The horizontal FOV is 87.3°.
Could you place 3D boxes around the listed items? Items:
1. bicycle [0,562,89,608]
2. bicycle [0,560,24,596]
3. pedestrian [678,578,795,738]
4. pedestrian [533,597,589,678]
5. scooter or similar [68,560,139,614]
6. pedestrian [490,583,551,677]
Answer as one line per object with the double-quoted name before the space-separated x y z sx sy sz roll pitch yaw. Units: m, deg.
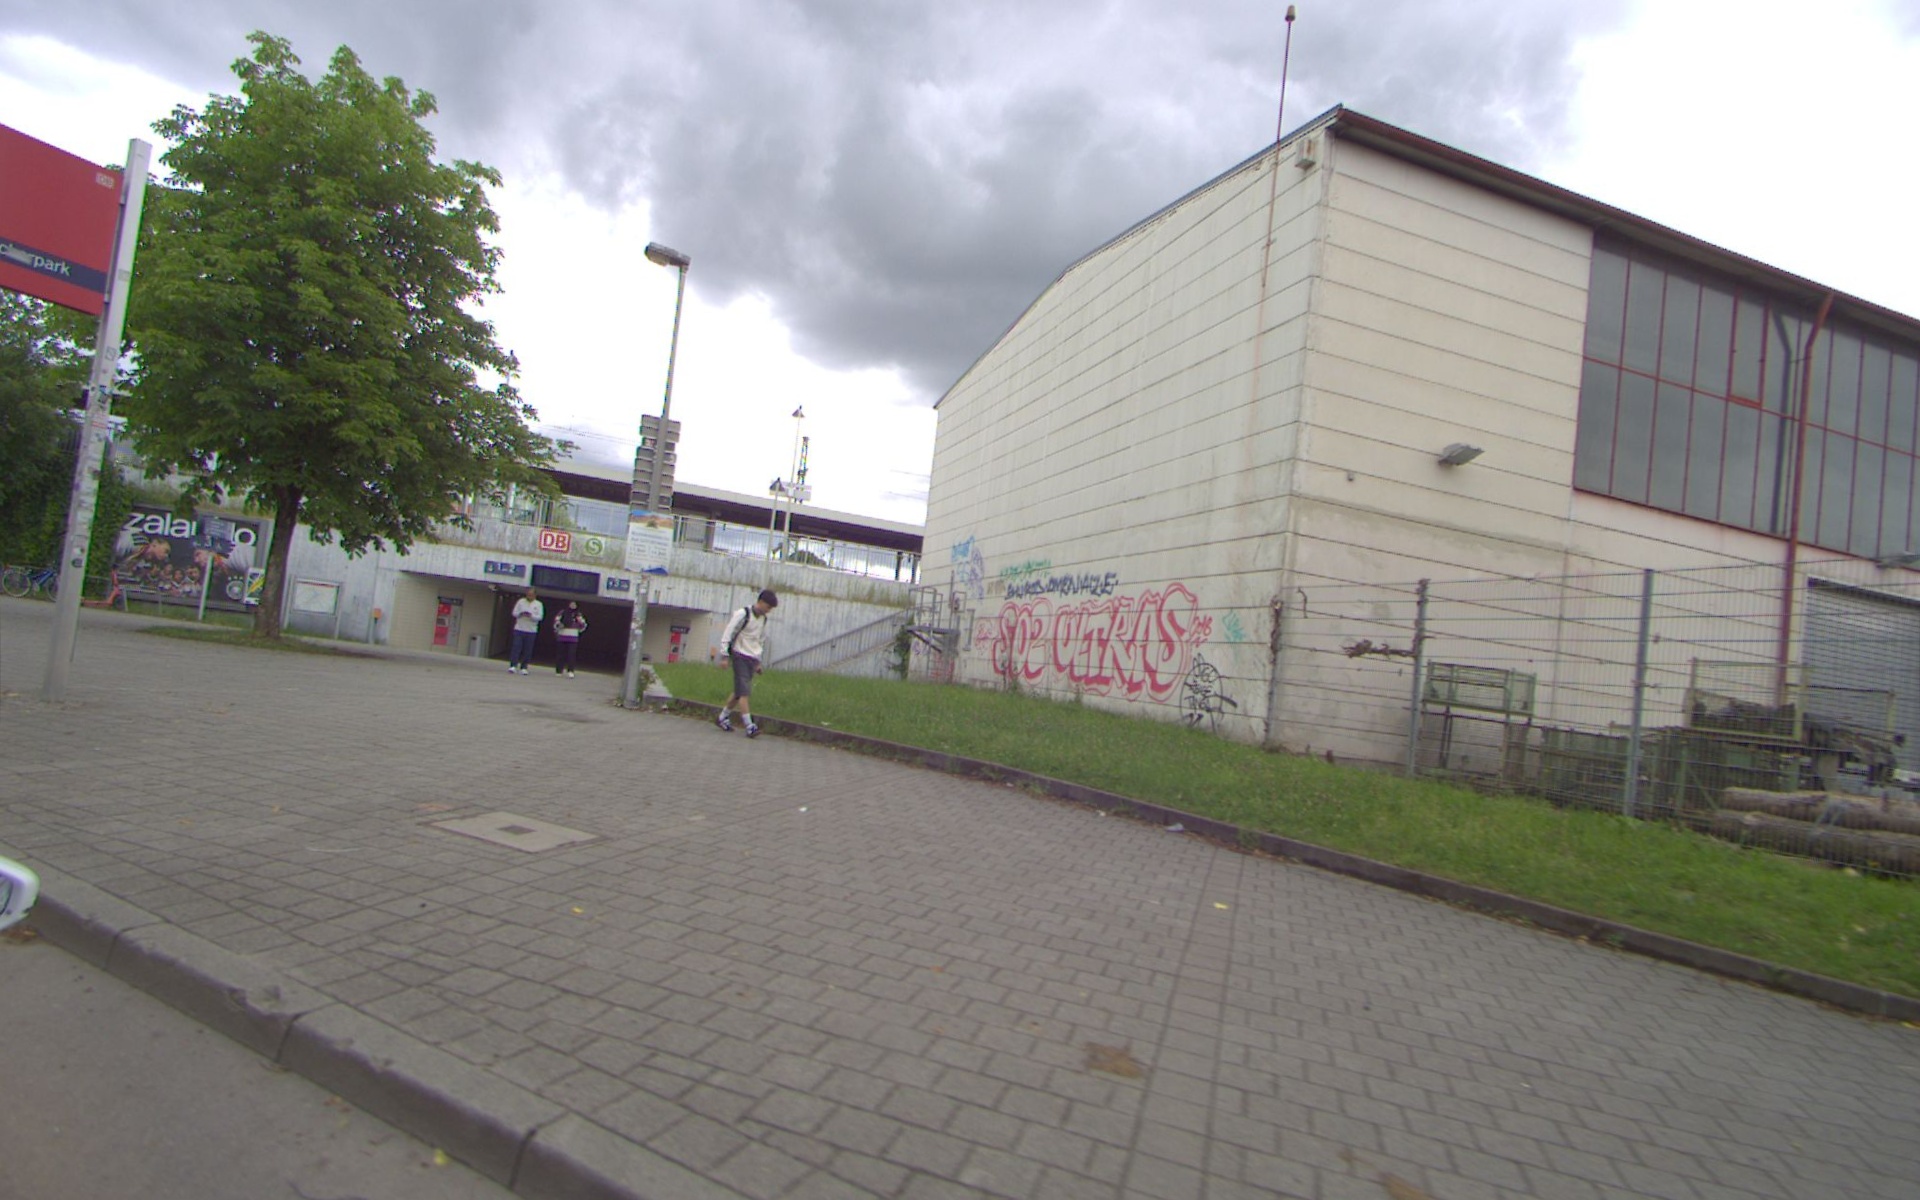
"bicycle" -24.147 -0.387 26.305 0.501 0.873 1.979 7 -6 18
"bicycle" -25.387 -0.669 26.029 0.455 0.862 1.584 7 -6 21
"pedestrian" -2.545 0.651 11.448 0.843 1.703 0.931 7 -3 -36
"pedestrian" -8.405 0.793 21.190 0.794 1.601 0.795 8 -3 -33
"scooter or similar" -22.616 -0.335 26.593 0.459 1.218 1.194 6 -5 21
"pedestrian" -8.661 0.589 19.830 0.809 1.721 0.743 8 -3 -33
